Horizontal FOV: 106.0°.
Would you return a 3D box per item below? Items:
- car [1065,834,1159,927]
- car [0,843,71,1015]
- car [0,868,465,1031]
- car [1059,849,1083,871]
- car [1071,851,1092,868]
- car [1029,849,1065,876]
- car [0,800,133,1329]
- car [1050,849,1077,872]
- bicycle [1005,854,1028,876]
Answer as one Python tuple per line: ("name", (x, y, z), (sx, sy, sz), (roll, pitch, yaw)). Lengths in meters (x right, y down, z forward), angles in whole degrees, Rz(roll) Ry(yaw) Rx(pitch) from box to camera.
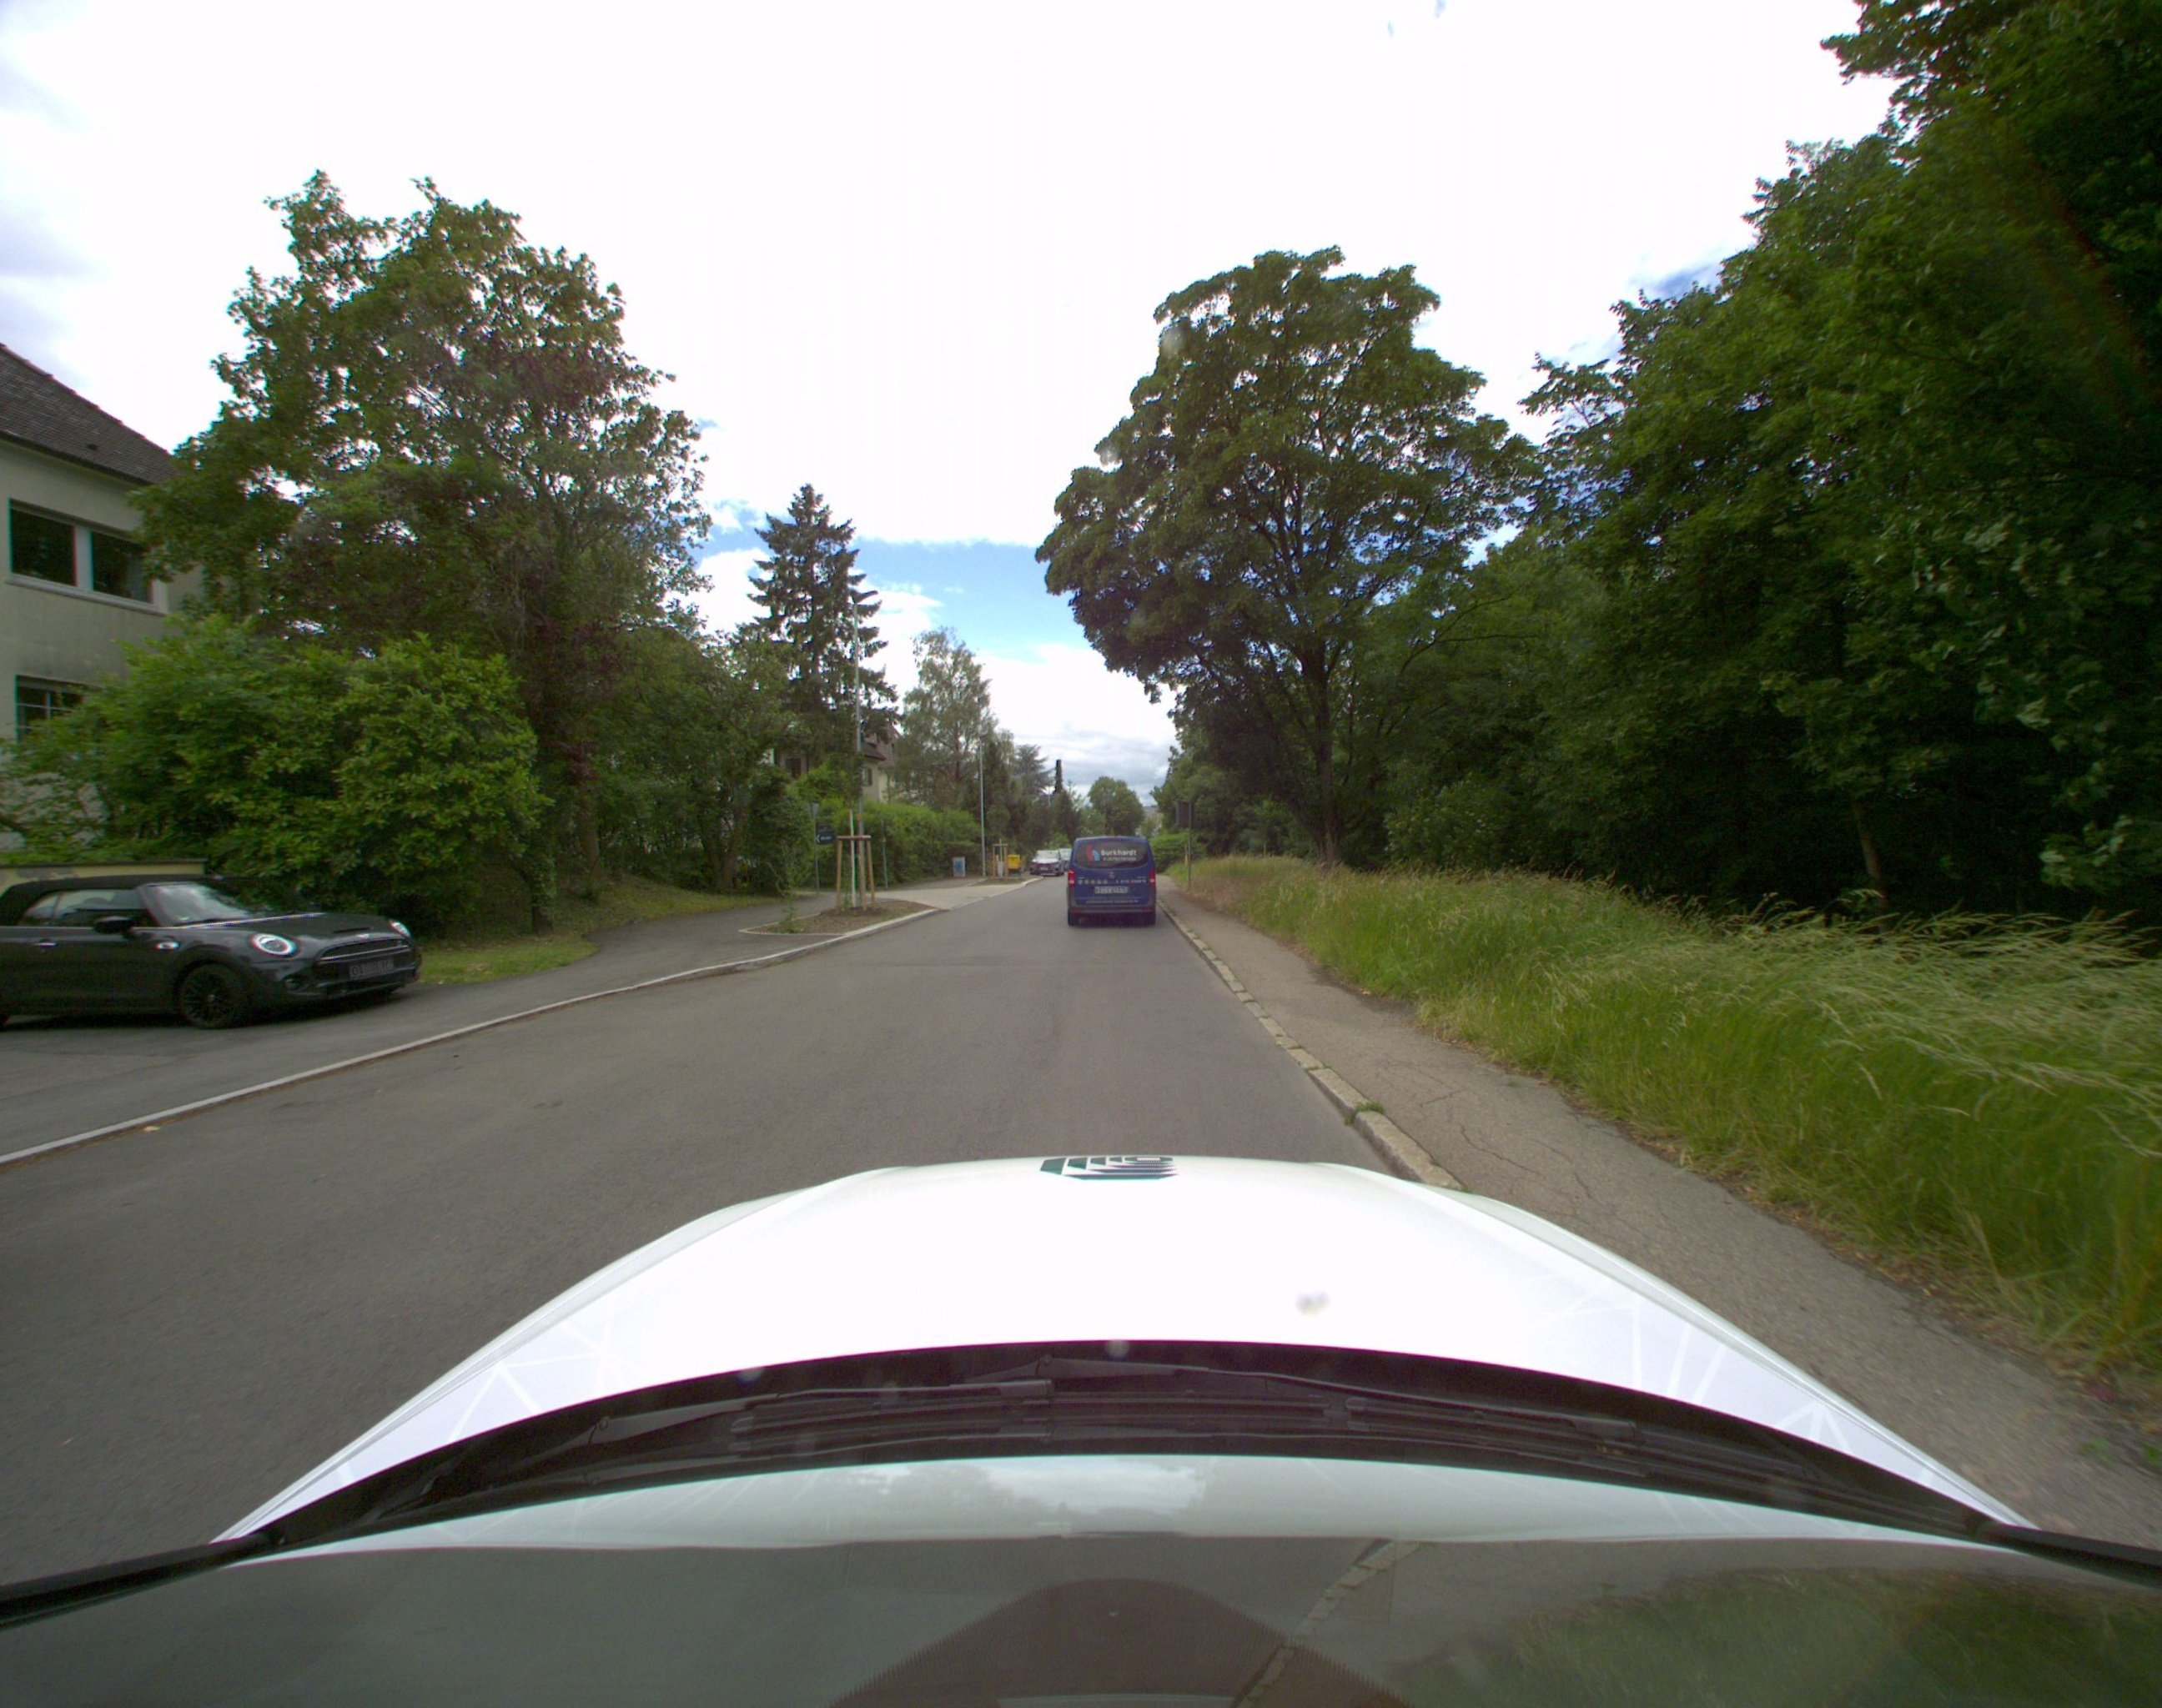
("car", (0.613, 0.486, 18.361), (1.883, 1.844, 3.999), (0, 1, -1))
("car", (-13.092, 0.921, 8.175), (3.529, 1.794, 2.013), (-4, 0, 6))
("car", (-8.916, 0.910, 8.374), (3.806, 1.385, 1.780), (-1, 1, 3))
("car", (-0.864, 0.525, 70.774), (1.824, 1.804, 4.002), (0, -1, 2))
("car", (0.064, 0.547, 86.239), (1.883, 1.692, 4.554), (0, 2, 4))
("car", (-2.089, 0.509, 51.725), (1.828, 1.631, 4.305), (0, 0, 4))
("car", (-4.662, 0.705, 0.476), (1.966, 1.737, 5.194), (0, 0, 3))
("car", (-1.360, 0.508, 64.618), (1.824, 1.751, 4.004), (0, 1, 4))
("bicycle", (-3.848, 0.659, 48.867), (0.902, 1.252, 2.919), (1, 0, 4))
